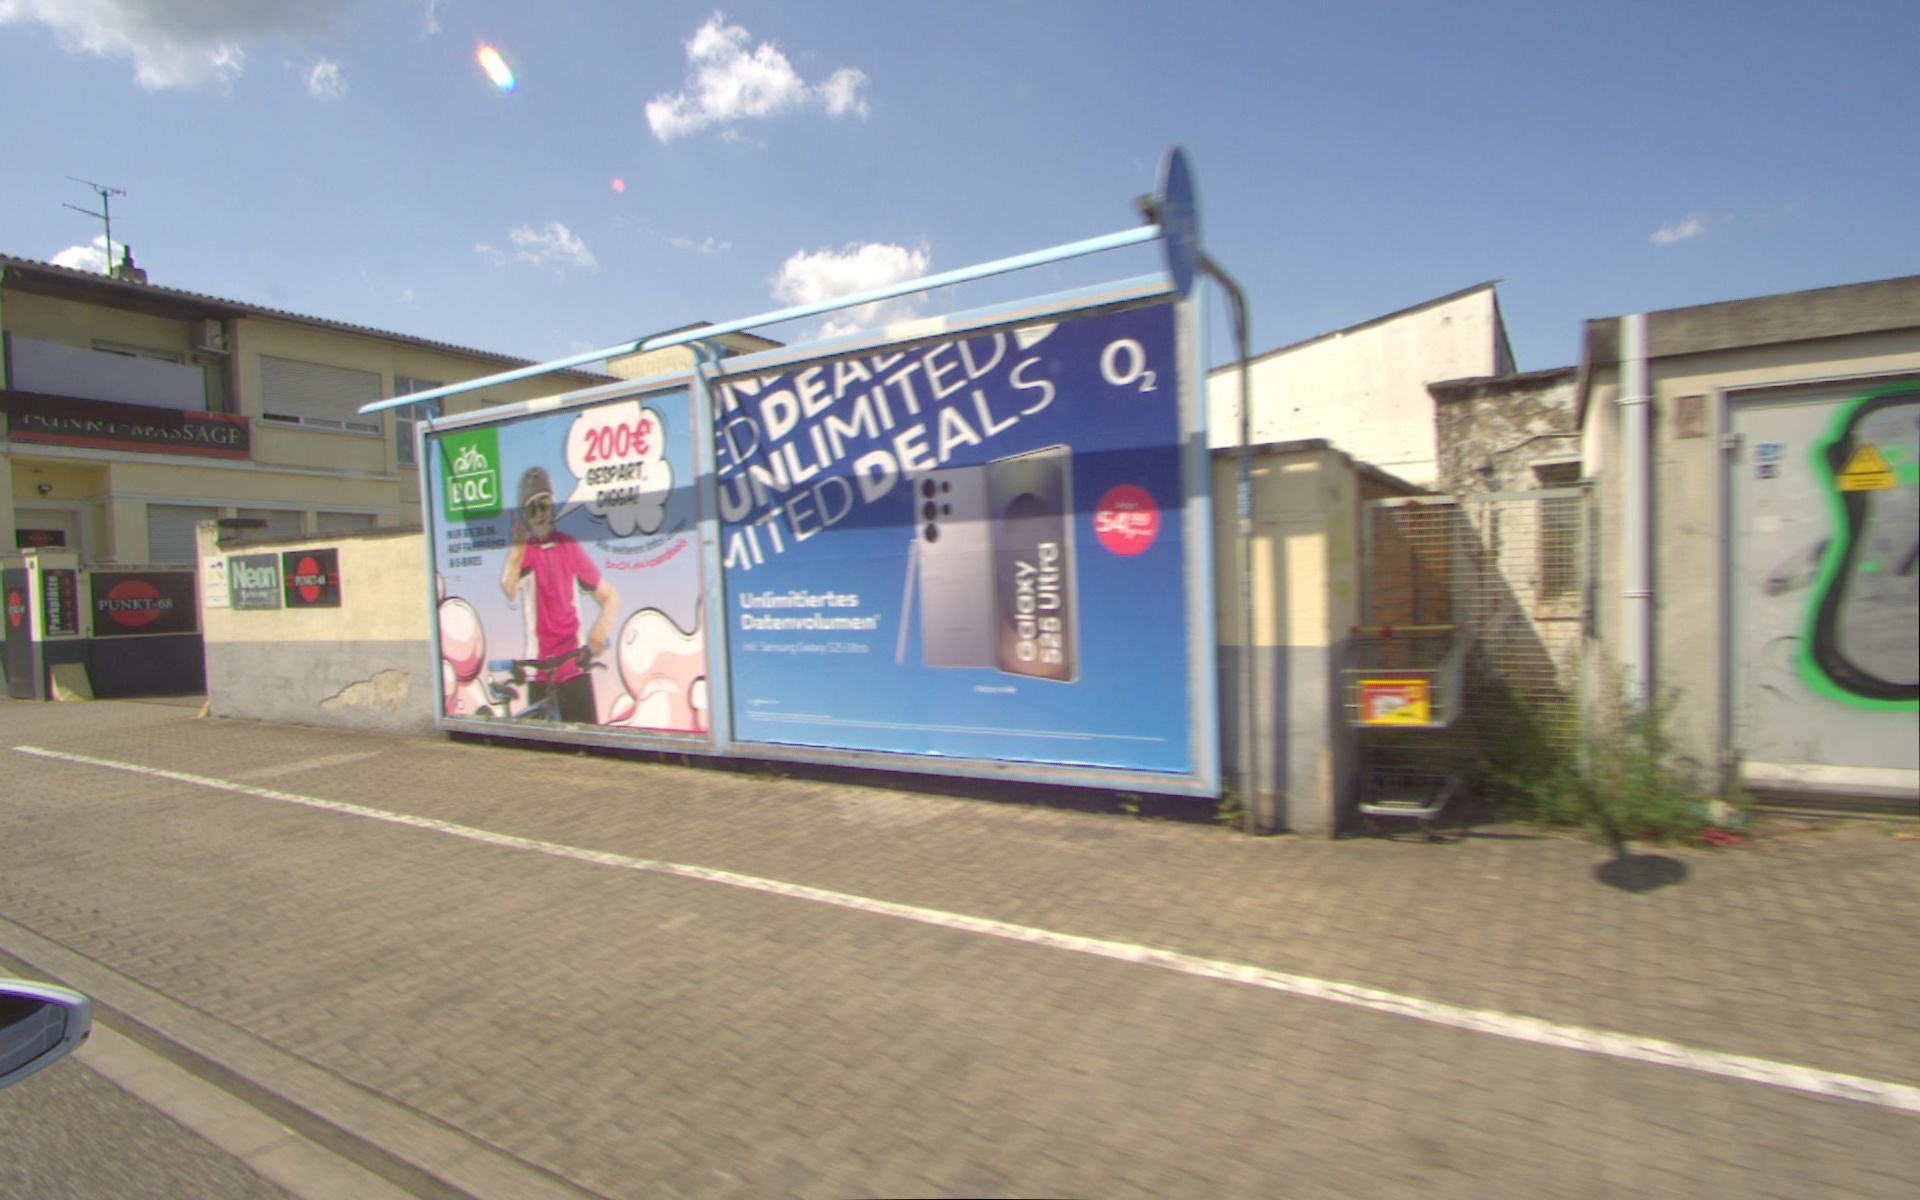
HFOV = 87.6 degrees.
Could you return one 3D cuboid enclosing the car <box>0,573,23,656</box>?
[{"bbox_3d":[-32.180,0.533,30.761,2.122,2.608,4.523,-1,1,34],"label":"car"}]
